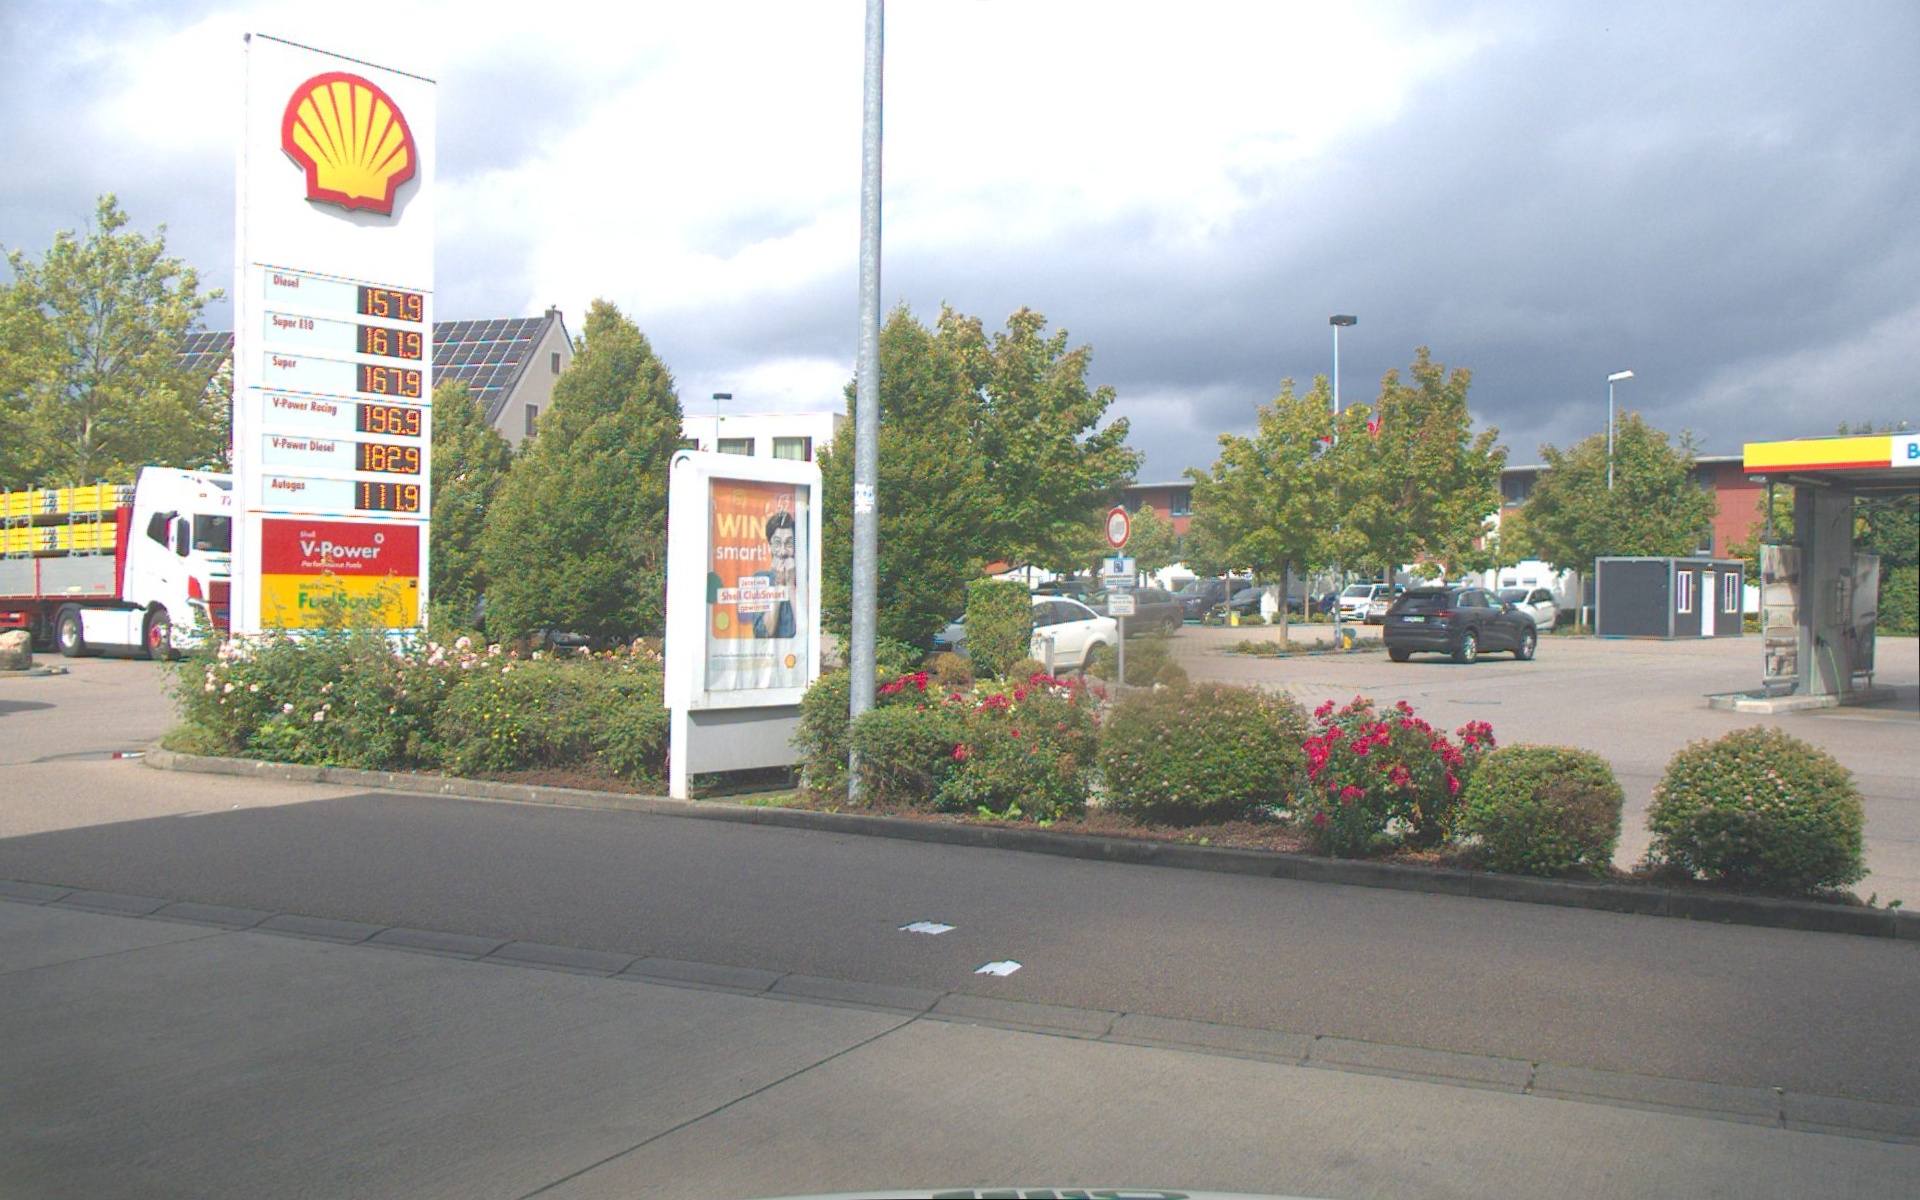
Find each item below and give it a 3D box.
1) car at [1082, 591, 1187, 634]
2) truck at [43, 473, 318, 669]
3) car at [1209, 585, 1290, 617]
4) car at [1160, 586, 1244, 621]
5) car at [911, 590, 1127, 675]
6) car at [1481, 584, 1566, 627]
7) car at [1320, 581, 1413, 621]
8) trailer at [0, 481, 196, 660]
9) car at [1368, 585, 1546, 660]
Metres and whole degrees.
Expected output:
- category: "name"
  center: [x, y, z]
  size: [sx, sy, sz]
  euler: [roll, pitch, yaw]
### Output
- category: "car"
  center: [5.282, 0.379, 49.803]
  size: [3.203, 1.249, 1.481]
  euler: [1, 0, -45]
- category: "truck"
  center: [-16.847, -0.593, 35.664]
  size: [5.796, 3.913, 2.733]
  euler: [1, -1, 34]
- category: "car"
  center: [11.419, 0.055, 65.220]
  size: [3.393, 1.199, 1.462]
  euler: [1, 0, -45]
- category: "car"
  center: [9.818, 0.159, 66.942]
  size: [3.363, 1.343, 1.719]
  euler: [1, 0, -45]
- category: "car"
  center: [1.134, 0.585, 29.948]
  size: [1.348, 1.428, 4.312]
  euler: [1, -1, 45]
- category: "car"
  center: [18.012, 0.182, 52.815]
  size: [3.080, 1.330, 1.346]
  euler: [1, -1, -45]
- category: "car"
  center: [19.924, 0.051, 80.954]
  size: [4.839, 1.865, 2.150]
  euler: [1, 0, -44]
- category: "trailer"
  center: [-23.406, -0.685, 40.104]
  size: [12.449, 3.842, 2.731]
  euler: [1, 0, 34]
- category: "car"
  center: [11.132, 0.496, 36.903]
  size: [4.467, 1.575, 1.856]
  euler: [1, 0, -44]
